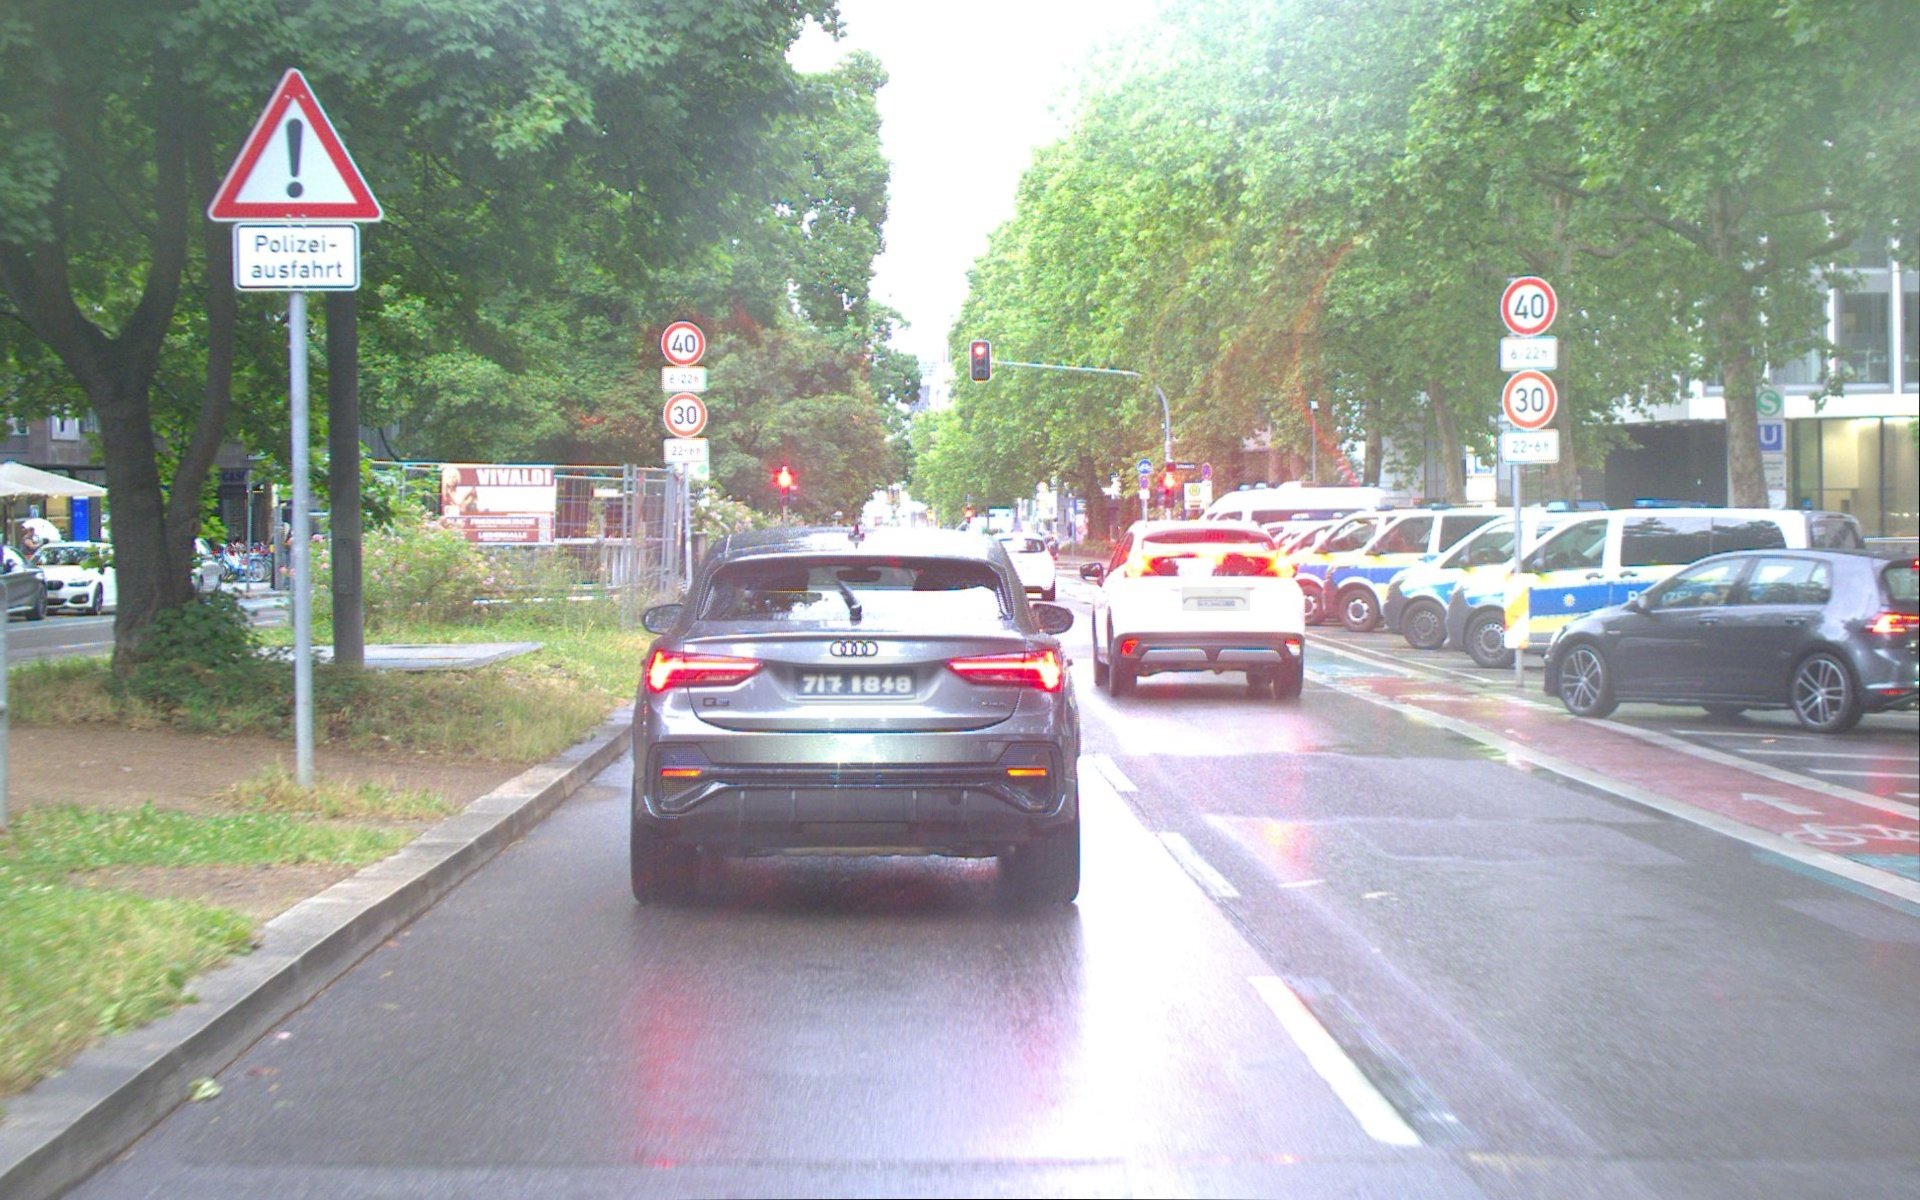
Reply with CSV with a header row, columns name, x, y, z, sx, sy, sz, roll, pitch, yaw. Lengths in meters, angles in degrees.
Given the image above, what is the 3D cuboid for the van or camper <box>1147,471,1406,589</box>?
name,x,y,z,sx,sy,sz,roll,pitch,yaw
van or camper,7.417,-1.647,80.869,5.809,2.668,2.143,1,1,37

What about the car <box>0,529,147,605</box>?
name,x,y,z,sx,sy,sz,roll,pitch,yaw
car,-17.565,-0.672,67.838,1.993,1.365,4.540,2,1,-1

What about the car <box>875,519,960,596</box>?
name,x,y,z,sx,sy,sz,roll,pitch,yaw
car,-0.914,-0.925,72.659,1.721,1.572,3.962,0,1,-1

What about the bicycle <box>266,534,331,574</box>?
name,x,y,z,sx,sy,sz,roll,pitch,yaw
bicycle,-19.656,-1.368,102.112,1.844,1.133,0.566,-1,2,-7

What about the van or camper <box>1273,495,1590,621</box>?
name,x,y,z,sx,sy,sz,roll,pitch,yaw
van or camper,7.759,-0.710,56.764,4.789,2.004,1.996,1,1,35

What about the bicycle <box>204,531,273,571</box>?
name,x,y,z,sx,sy,sz,roll,pitch,yaw
bicycle,-20.208,-1.372,96.364,1.844,1.094,0.615,-1,1,-7

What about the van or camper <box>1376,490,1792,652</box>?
name,x,y,z,sx,sy,sz,roll,pitch,yaw
van or camper,8.290,-0.422,45.905,5.082,2.012,1.993,2,2,36

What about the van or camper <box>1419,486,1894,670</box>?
name,x,y,z,sx,sy,sz,roll,pitch,yaw
van or camper,7.952,-0.292,39.488,4.942,1.985,1.998,2,1,37

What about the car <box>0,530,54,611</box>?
name,x,y,z,sx,sy,sz,roll,pitch,yaw
car,-17.519,-0.534,60.865,1.825,1.389,4.484,0,1,-1

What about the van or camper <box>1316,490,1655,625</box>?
name,x,y,z,sx,sy,sz,roll,pitch,yaw
van or camper,8.058,-0.678,52.934,4.849,1.991,1.864,1,1,36

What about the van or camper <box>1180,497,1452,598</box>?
name,x,y,z,sx,sy,sz,roll,pitch,yaw
van or camper,7.303,-1.088,70.748,5.202,1.985,1.996,1,1,34

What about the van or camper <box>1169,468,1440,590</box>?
name,x,y,z,sx,sy,sz,roll,pitch,yaw
van or camper,7.722,-1.587,77.389,5.804,2.671,1.996,0,1,35

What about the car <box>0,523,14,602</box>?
name,x,y,z,sx,sy,sz,roll,pitch,yaw
car,-17.365,-0.633,59.853,1.050,1.383,2.694,-1,1,0

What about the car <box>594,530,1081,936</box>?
name,x,y,z,sx,sy,sz,roll,pitch,yaw
car,-0.458,0.466,15.435,1.863,1.527,4.527,0,1,0

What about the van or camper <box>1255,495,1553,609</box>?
name,x,y,z,sx,sy,sz,roll,pitch,yaw
van or camper,8.191,-0.905,63.602,5.102,2.018,2.102,1,2,37

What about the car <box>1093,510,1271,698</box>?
name,x,y,z,sx,sy,sz,roll,pitch,yaw
car,2.066,0.001,32.581,1.433,1.679,2.979,-1,1,-1

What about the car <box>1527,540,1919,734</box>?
name,x,y,z,sx,sy,sz,roll,pitch,yaw
car,6.597,0.236,27.589,1.765,1.408,4.000,-2,2,-34

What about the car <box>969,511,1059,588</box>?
name,x,y,z,sx,sy,sz,roll,pitch,yaw
car,1.235,-1.205,80.802,1.993,1.744,4.000,-1,1,-1

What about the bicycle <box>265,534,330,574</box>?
name,x,y,z,sx,sy,sz,roll,pitch,yaw
bicycle,-19.793,-1.381,102.752,1.844,1.145,0.566,-1,2,-7

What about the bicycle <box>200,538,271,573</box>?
name,x,y,z,sx,sy,sz,roll,pitch,yaw
bicycle,-20.179,-1.244,95.783,1.844,0.975,0.566,0,1,-3

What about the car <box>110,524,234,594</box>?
name,x,y,z,sx,sy,sz,roll,pitch,yaw
car,-17.921,-0.955,78.360,1.993,1.504,4.519,-1,2,-3
